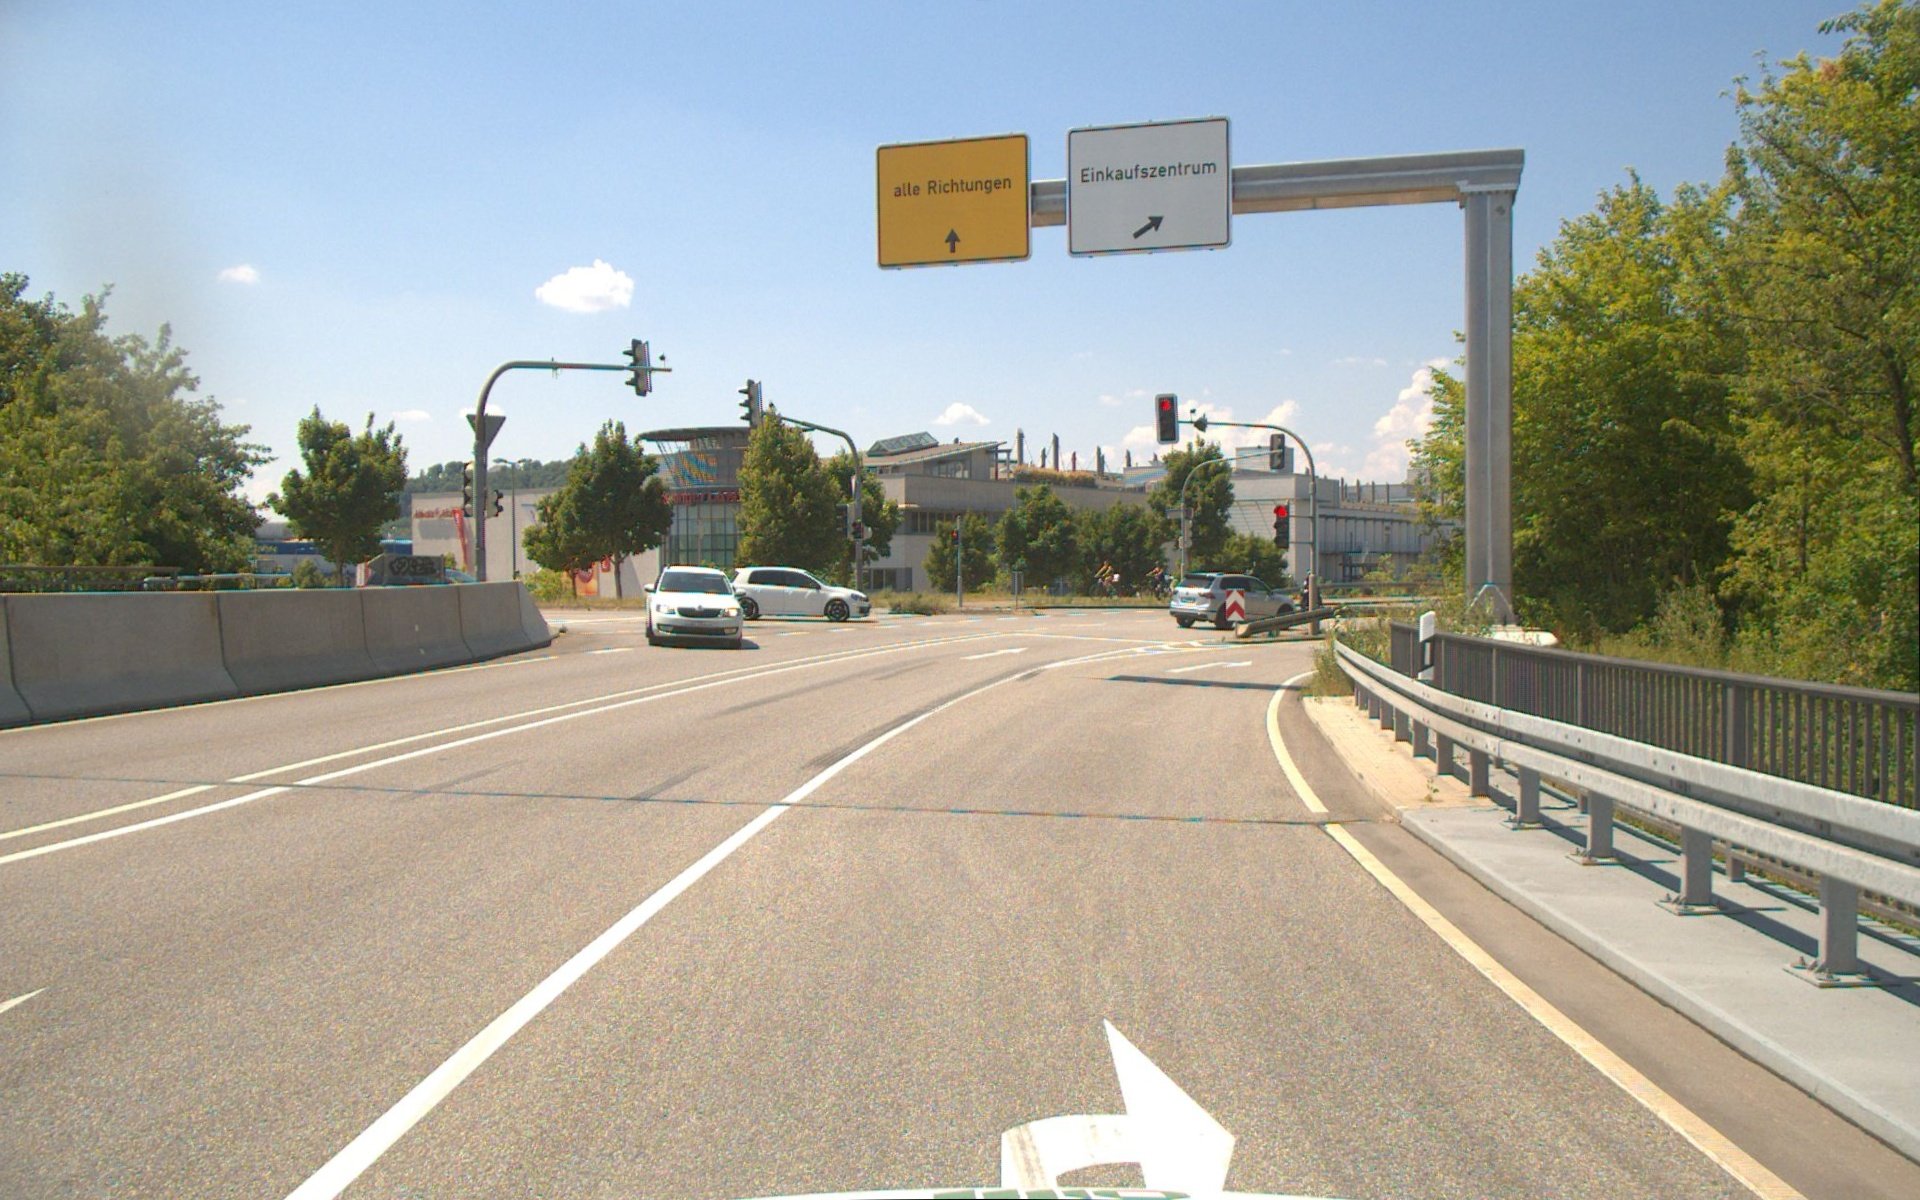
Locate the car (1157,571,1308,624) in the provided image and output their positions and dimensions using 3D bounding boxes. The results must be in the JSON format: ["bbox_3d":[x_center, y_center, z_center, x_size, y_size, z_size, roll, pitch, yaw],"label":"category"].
[{"bbox_3d":[8.246,-0.091,50.028,4.341,1.532,1.977,0,0,-33],"label":"car"}]

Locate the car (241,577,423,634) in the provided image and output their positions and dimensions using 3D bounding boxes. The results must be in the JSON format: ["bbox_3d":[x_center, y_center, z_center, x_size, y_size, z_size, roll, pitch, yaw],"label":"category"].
[{"bbox_3d":[-18.371,0.150,48.493,4.622,1.572,1.737,1,1,0],"label":"car"}]

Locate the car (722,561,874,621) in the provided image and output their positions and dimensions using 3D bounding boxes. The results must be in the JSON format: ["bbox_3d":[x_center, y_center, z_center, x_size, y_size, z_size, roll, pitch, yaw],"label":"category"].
[{"bbox_3d":[-4.527,-0.268,46.639,4.037,1.512,2.000,2,1,1],"label":"car"}]

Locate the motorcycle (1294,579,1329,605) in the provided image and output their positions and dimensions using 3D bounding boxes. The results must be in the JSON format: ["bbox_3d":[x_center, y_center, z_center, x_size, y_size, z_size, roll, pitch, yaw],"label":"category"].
[{"bbox_3d":[15.221,-0.364,71.621,0.553,1.099,2.274,0,0,38],"label":"motorcycle"}]

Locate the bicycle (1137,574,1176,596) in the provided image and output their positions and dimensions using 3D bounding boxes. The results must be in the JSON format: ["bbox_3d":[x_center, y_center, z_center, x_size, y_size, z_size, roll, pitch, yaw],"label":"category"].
[{"bbox_3d":[8.361,-0.637,70.314,0.526,0.867,2.113,4,3,43],"label":"bicycle"}]

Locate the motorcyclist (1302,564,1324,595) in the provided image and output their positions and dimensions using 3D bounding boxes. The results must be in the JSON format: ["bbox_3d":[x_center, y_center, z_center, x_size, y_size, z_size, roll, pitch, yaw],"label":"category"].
[{"bbox_3d":[15.307,-0.876,71.725,0.664,1.325,0.720,-1,0,38],"label":"motorcyclist"}]

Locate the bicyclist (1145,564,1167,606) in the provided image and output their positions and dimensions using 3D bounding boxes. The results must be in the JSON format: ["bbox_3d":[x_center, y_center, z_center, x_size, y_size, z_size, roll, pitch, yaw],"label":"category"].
[{"bbox_3d":[8.323,-0.627,70.262,0.522,1.747,0.726,4,2,42],"label":"bicyclist"}]

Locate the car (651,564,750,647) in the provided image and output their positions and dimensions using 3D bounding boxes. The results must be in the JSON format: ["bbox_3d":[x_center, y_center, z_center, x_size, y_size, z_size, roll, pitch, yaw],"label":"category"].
[{"bbox_3d":[-5.195,0.059,32.689,1.755,1.521,4.539,0,1,-11],"label":"car"}]

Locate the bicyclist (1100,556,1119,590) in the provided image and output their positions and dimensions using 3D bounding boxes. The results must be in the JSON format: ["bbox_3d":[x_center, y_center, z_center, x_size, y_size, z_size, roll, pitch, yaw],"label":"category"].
[{"bbox_3d":[6.313,-1.137,69.978,0.679,1.428,0.402,1,1,-41],"label":"bicyclist"}]

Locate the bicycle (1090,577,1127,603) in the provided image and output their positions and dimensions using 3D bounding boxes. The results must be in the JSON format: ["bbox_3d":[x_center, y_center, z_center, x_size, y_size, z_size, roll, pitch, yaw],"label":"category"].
[{"bbox_3d":[6.290,-0.411,69.995,1.816,1.042,0.409,0,2,-42],"label":"bicycle"}]
